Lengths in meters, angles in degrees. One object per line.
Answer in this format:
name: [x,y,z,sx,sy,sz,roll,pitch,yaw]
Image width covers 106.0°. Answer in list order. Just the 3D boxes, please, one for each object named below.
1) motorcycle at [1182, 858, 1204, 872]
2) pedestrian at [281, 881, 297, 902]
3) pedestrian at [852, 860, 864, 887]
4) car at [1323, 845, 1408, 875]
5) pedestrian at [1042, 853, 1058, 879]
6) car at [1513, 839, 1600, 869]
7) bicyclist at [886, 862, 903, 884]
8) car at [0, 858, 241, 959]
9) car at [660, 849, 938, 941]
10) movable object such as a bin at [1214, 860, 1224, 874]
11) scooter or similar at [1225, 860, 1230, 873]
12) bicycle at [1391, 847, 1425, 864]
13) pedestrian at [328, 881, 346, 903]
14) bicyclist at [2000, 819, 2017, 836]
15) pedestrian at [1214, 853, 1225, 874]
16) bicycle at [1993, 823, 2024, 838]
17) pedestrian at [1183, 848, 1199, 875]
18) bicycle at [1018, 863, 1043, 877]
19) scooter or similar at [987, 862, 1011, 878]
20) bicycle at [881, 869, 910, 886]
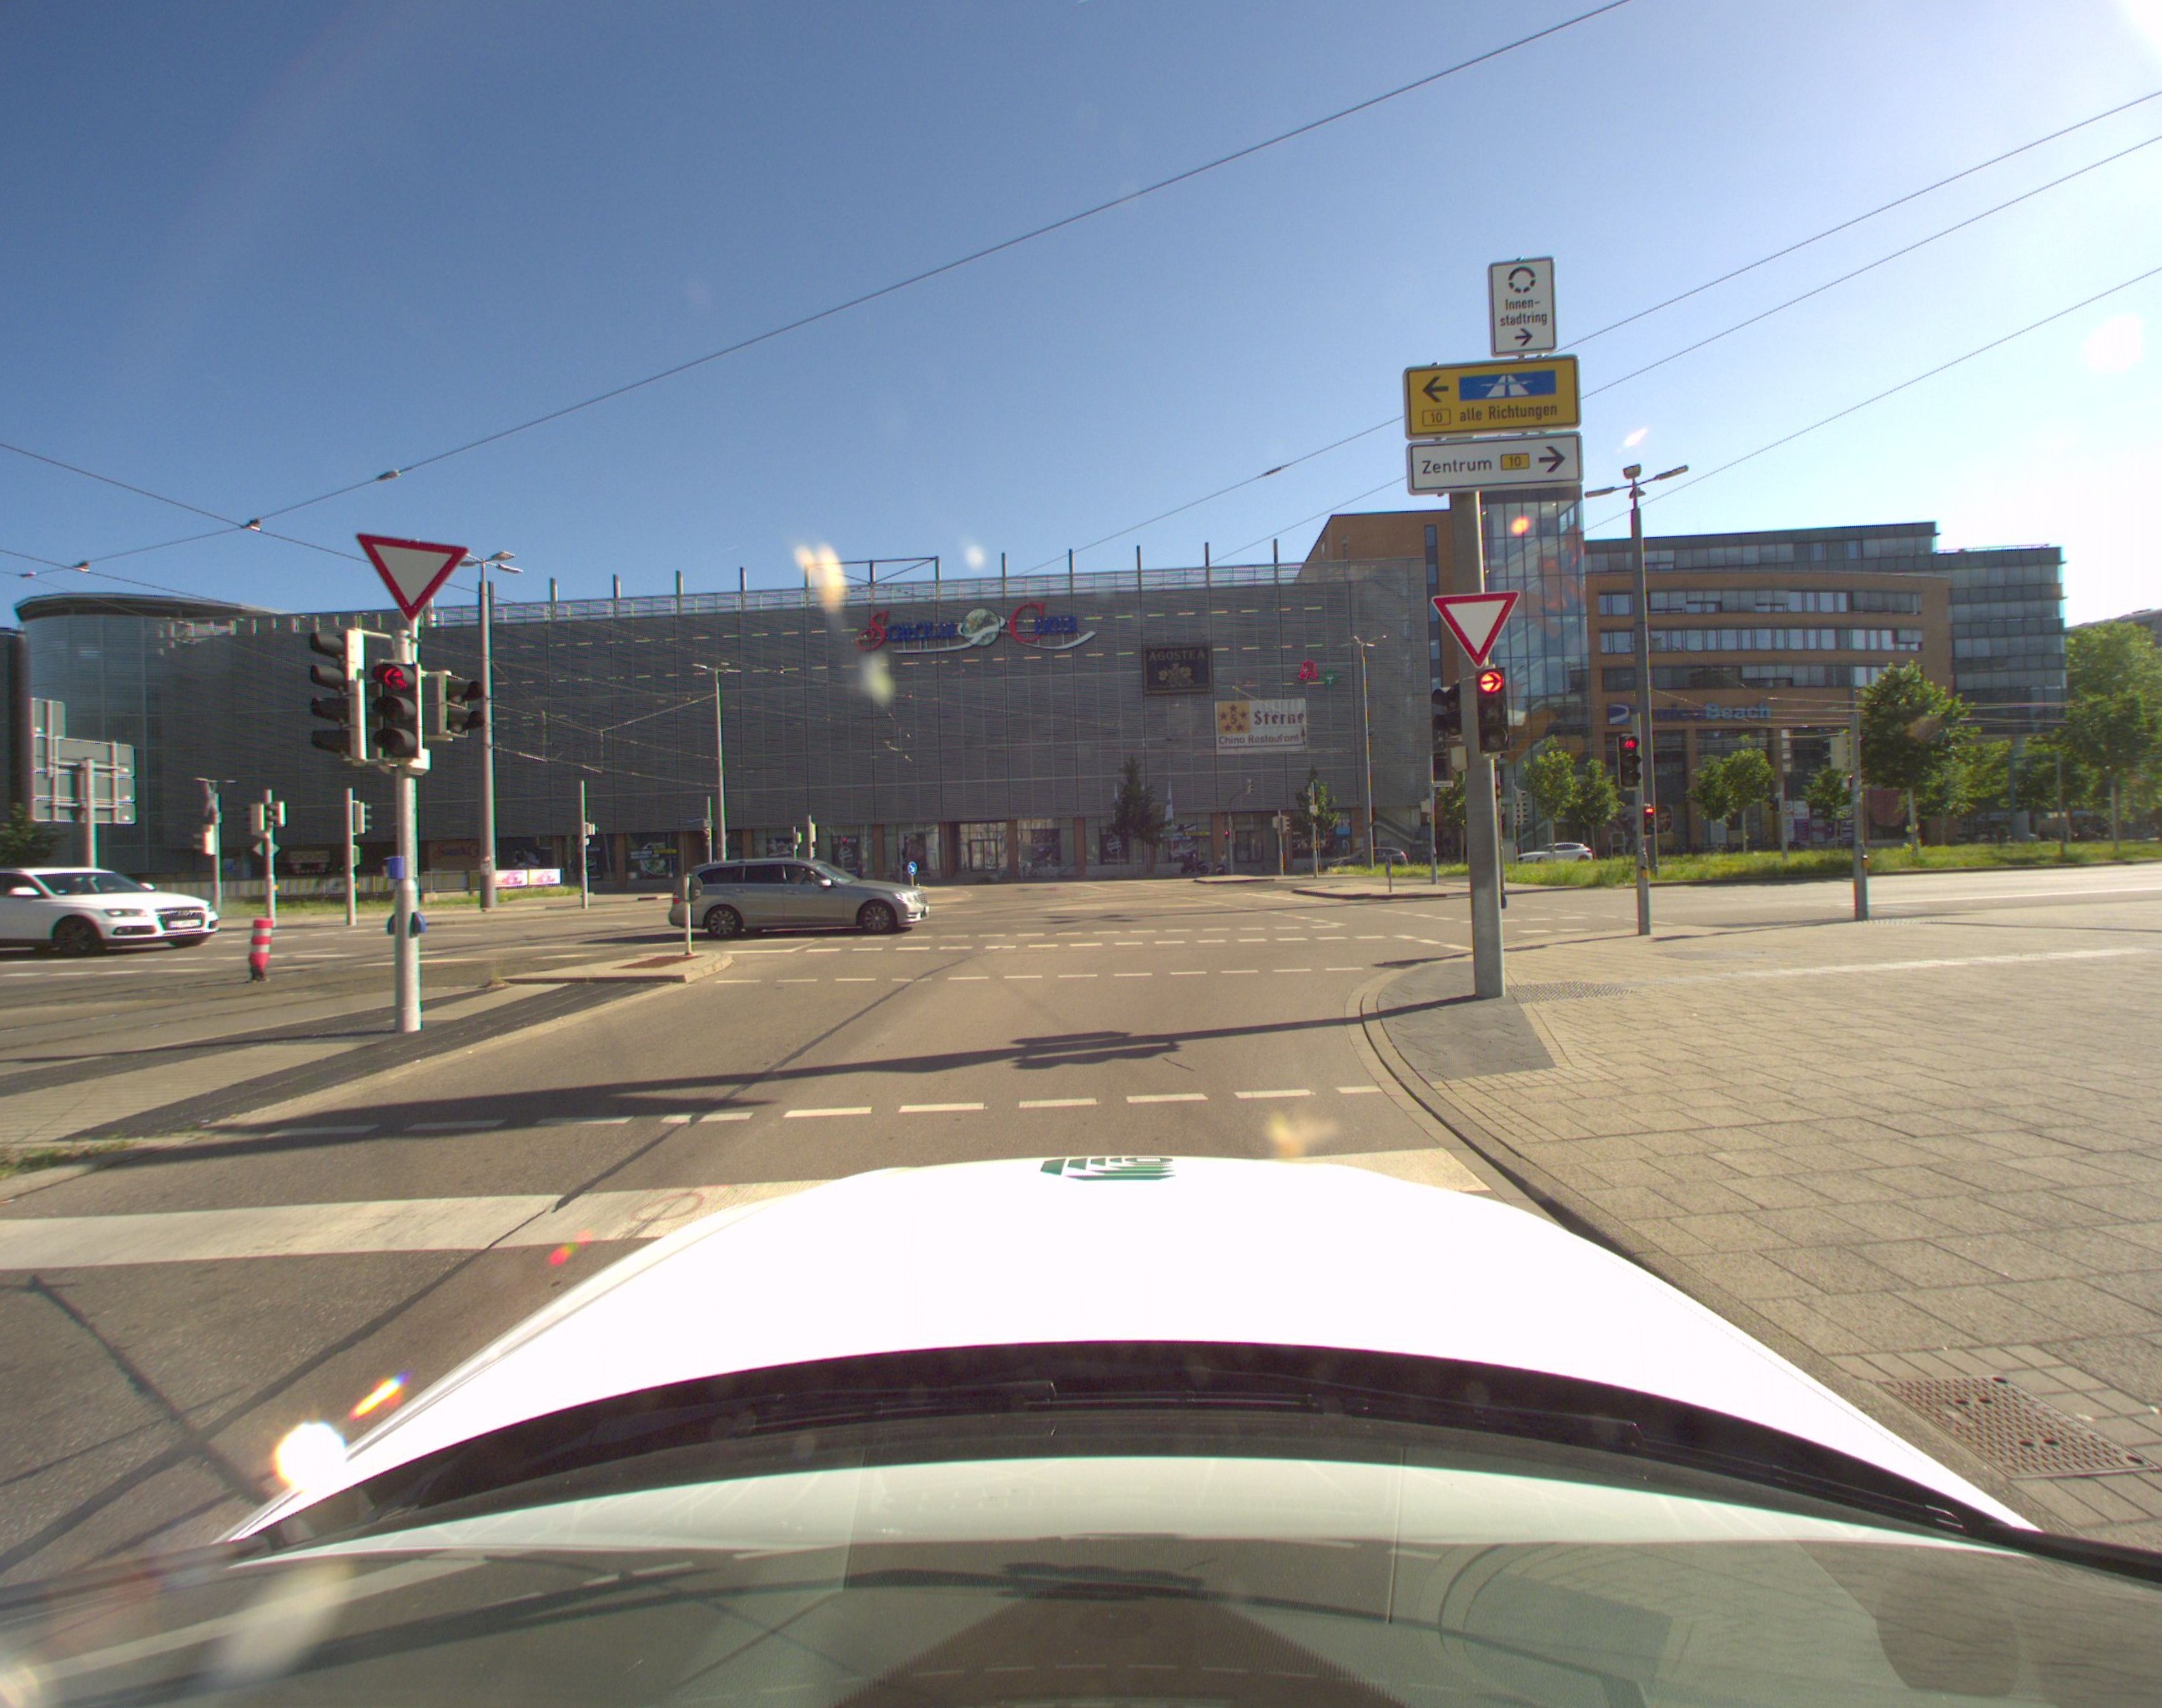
motorcycle: [8.313,0.827,60.590,1.630,1.004,0.448,0,0,8]
pedestrian: [-61.414,2.915,63.168,0.656,1.601,0.595,-1,-1,8]
pedestrian: [-15.202,1.308,55.456,0.695,1.797,0.727,-3,0,-14]
car: [15.883,0.346,45.615,4.132,1.470,1.841,2,-1,0]
pedestrian: [-2.264,0.898,59.723,0.945,1.829,0.847,-3,-4,7]
car: [28.748,0.014,49.299,4.279,1.645,1.839,2,-1,-3]
bicyclist: [-12.628,1.271,55.232,0.667,1.427,0.855,-1,2,45]
car: [-19.379,1.026,15.562,4.650,1.707,1.938,-2,0,2]
car: [-5.409,0.761,16.118,4.844,1.572,1.705,-2,0,-3]
movable object such as a bin: [9.272,0.879,54.734,0.608,0.904,0.972,-1,-1,12]
scooter or similar: [9.920,0.866,55.002,0.293,0.873,1.007,-1,-1,12]
bicycle: [24.343,0.108,60.613,2.247,1.296,0.606,0,-1,0]
pedestrian: [-53.843,2.736,58.921,0.656,1.601,0.652,-1,-1,8]
bicyclist: [76.035,-2.167,66.786,0.750,1.386,0.566,-2,1,1]
pedestrian: [9.405,0.628,55.197,0.650,1.414,0.853,-1,-1,12]
bicycle: [76.043,-1.928,66.789,1.850,1.217,0.569,-2,1,1]
pedestrian: [7.995,0.533,59.098,1.007,1.828,1.037,-3,0,5]
bicycle: [-3.781,1.171,60.785,1.815,0.989,0.556,-2,1,-8]
scooter or similar: [-6.184,1.200,61.226,1.790,1.066,0.611,-2,1,-6]
bicycle: [-12.585,1.582,55.304,0.562,1.086,1.874,-1,2,45]
